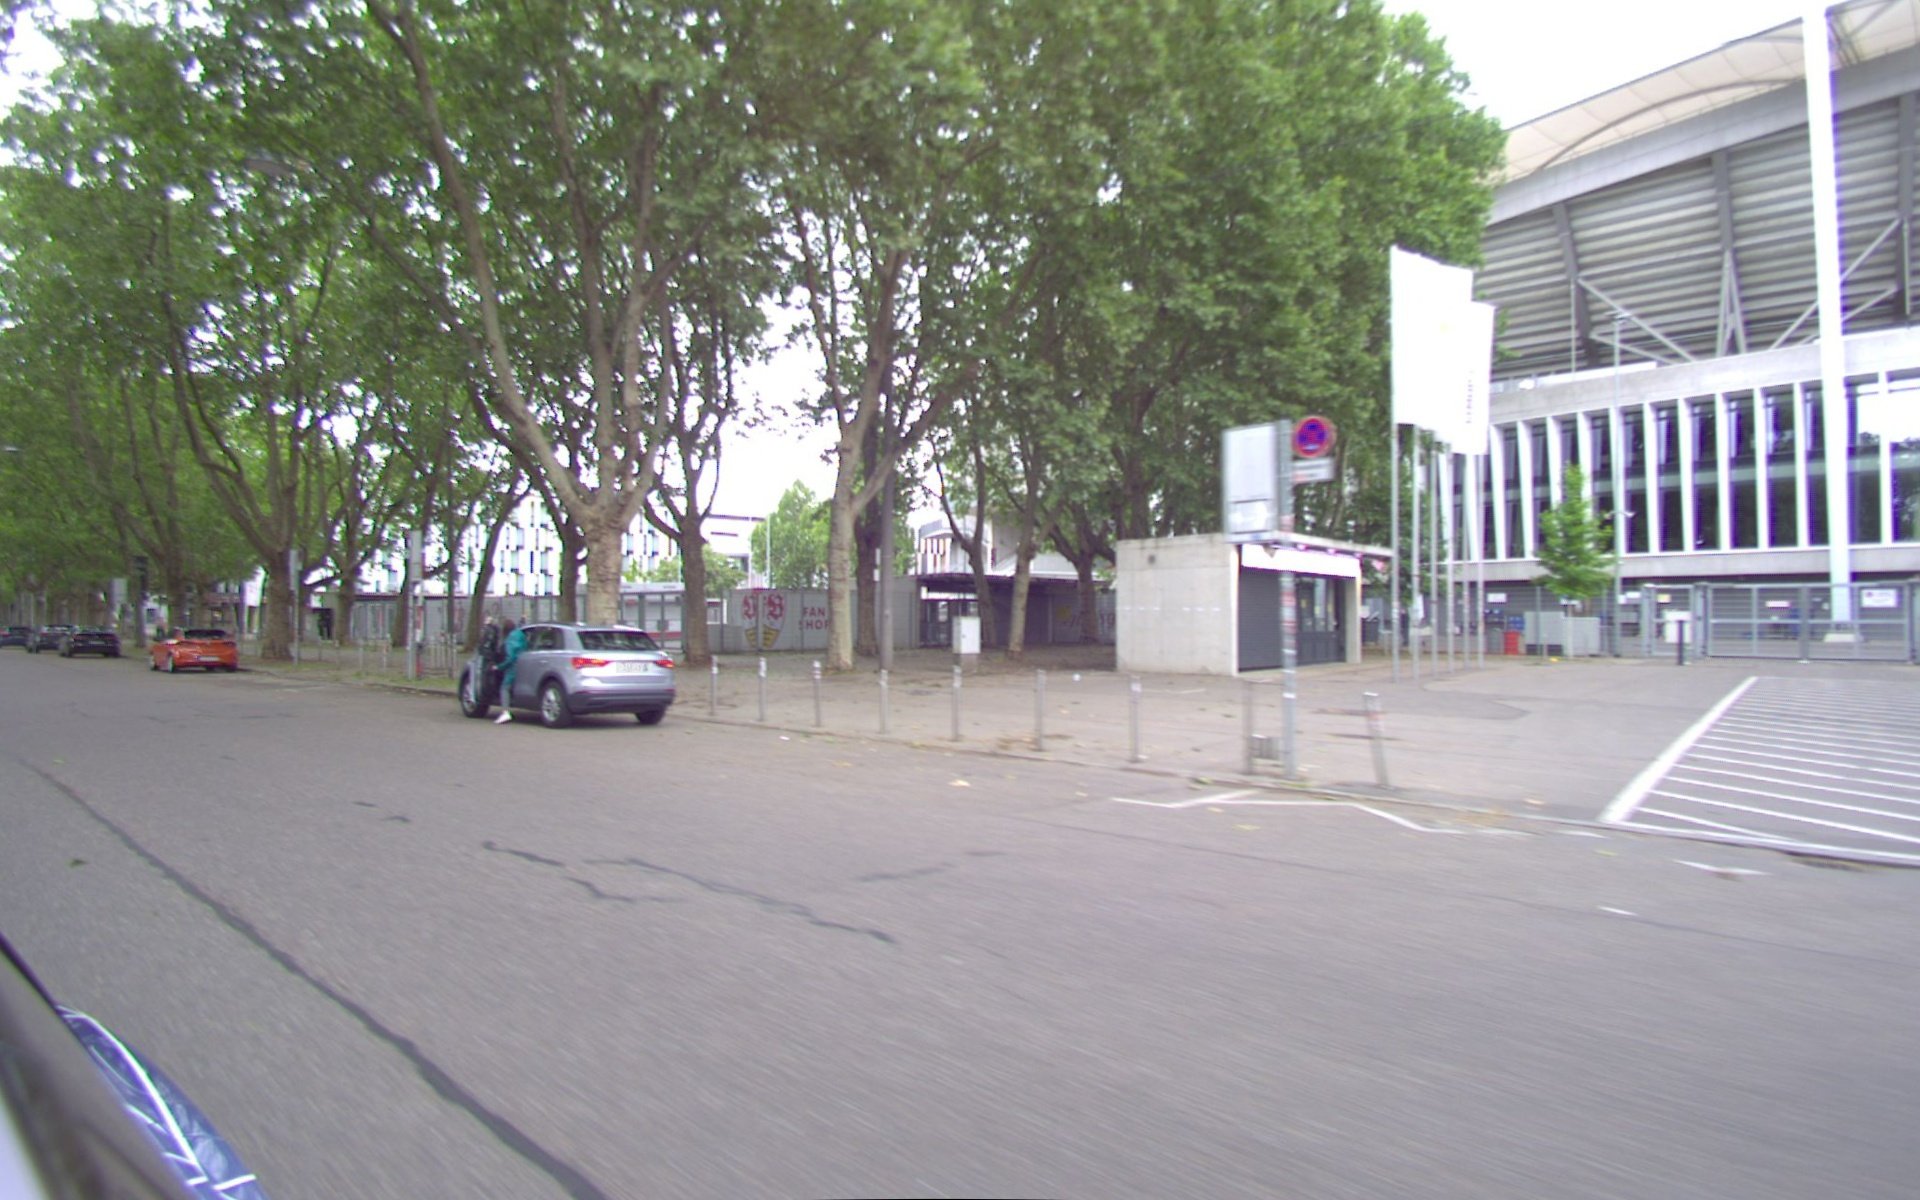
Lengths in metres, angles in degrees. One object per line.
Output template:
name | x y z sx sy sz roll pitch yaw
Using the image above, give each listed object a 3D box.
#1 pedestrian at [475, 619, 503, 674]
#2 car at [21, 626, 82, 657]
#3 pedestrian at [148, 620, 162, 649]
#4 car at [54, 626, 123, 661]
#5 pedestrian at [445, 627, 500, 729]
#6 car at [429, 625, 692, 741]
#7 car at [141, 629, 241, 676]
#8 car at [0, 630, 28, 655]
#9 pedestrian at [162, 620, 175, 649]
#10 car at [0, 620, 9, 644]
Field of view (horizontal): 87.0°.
pedestrian | -14.035 1.373 30.146 0.585 1.632 0.793 1 -1 -40
car | -46.513 2.097 51.791 4.149 1.538 1.858 -2 -3 42
pedestrian | -49.018 2.104 61.632 0.569 1.783 0.769 1 -2 -34
car | -38.112 1.878 44.201 4.628 1.477 1.806 -1 -3 44
pedestrian | -7.331 1.149 15.217 0.567 1.477 0.577 -2 -1 45
car | -6.528 1.205 16.273 4.754 1.575 2.051 -2 -2 42
car | -24.387 1.627 32.058 3.999 1.364 1.789 -2 -2 42
car | -59.630 2.622 63.152 4.572 1.497 1.706 -2 -2 42
pedestrian | -48.554 2.105 62.083 0.567 1.755 0.769 1 -2 -34
car | -72.763 2.360 75.673 4.635 1.764 1.929 -1 -3 41
